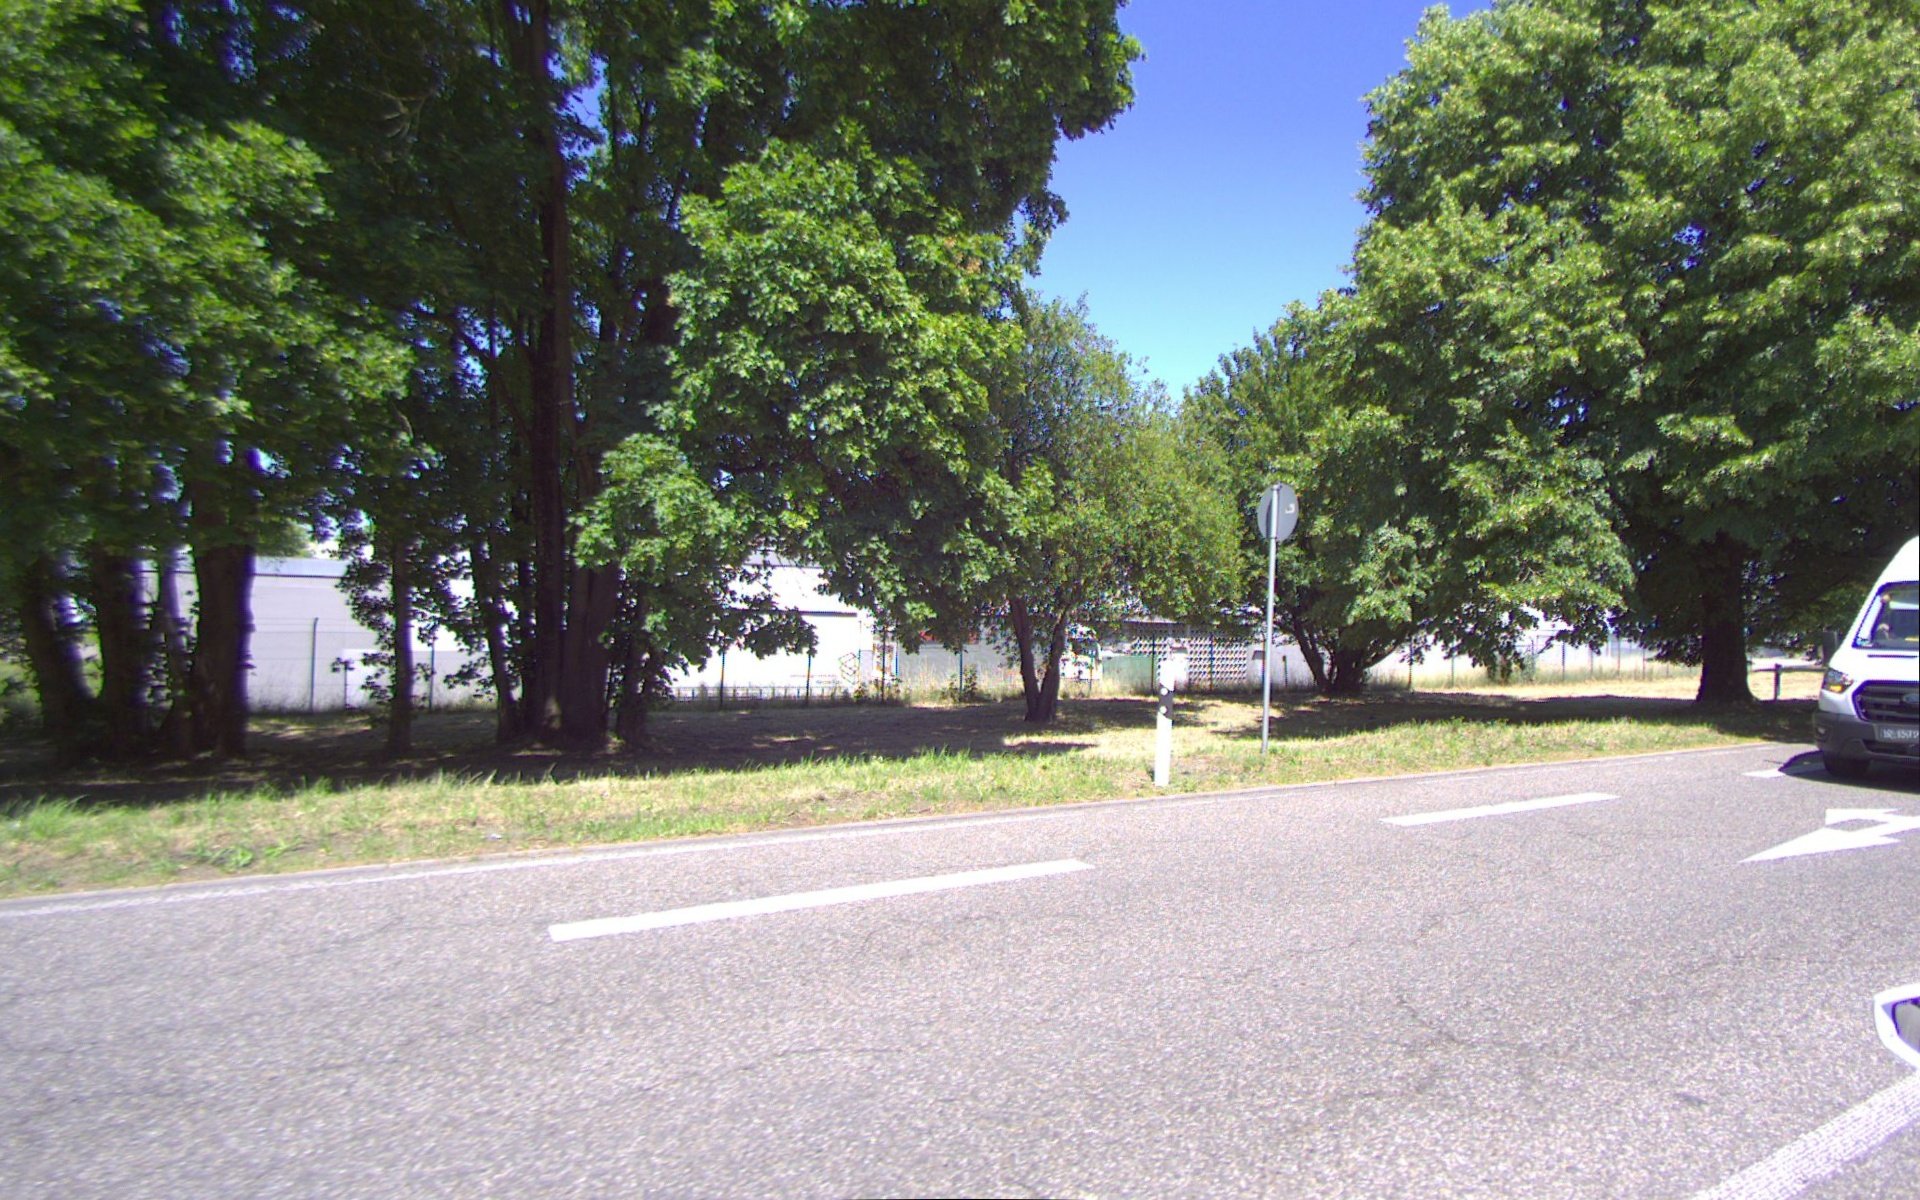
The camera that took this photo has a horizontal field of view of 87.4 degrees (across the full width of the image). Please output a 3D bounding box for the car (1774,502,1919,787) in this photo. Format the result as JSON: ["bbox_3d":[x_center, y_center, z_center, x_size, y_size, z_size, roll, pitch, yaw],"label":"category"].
[{"bbox_3d":[11.870,0.520,11.143,6.702,2.662,2.064,2,-1,-29],"label":"car"}]
